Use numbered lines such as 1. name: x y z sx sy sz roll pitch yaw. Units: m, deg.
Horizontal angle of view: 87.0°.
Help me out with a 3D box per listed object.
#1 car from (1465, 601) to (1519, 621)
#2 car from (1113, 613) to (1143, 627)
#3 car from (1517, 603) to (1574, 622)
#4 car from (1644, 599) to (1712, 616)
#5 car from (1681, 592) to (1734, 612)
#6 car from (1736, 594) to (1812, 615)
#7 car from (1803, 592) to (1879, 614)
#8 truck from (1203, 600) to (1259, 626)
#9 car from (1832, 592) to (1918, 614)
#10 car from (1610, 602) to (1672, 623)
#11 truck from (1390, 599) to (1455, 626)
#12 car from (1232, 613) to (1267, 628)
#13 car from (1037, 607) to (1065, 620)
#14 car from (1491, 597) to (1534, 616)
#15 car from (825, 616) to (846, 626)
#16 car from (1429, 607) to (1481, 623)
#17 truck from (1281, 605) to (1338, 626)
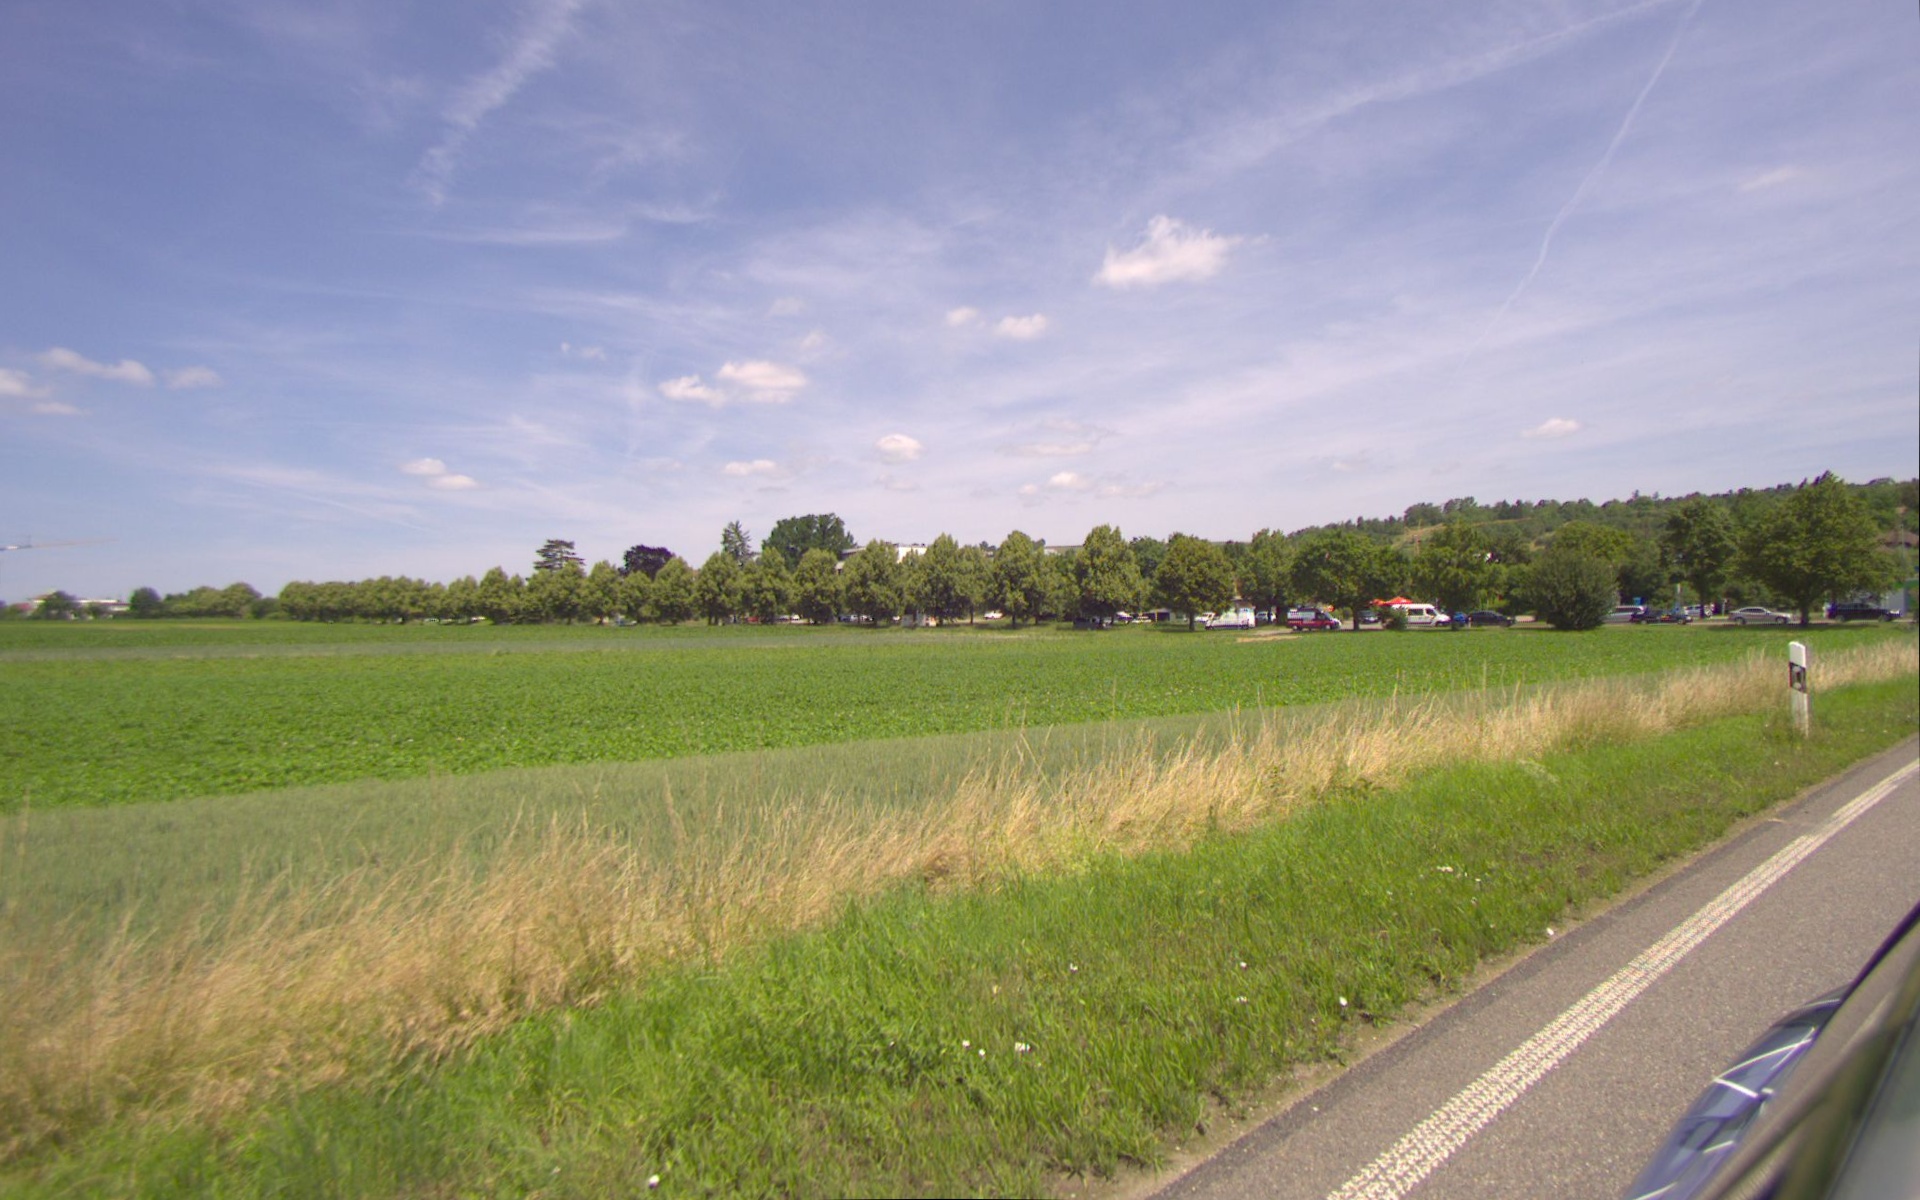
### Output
1. car: 51.111 1.079 97.242 4.273 1.719 1.970 -3 0 42
2. car: 24.219 2.878 145.822 3.985 1.847 1.795 -3 0 44
3. car: 57.425 1.252 99.319 4.508 1.713 1.839 -2 0 43
4. car: 61.773 0.647 87.093 4.542 1.289 1.774 -3 0 42
5. car: 73.403 0.195 99.453 3.984 1.847 1.795 -3 0 42
6. car: 66.078 0.370 82.196 1.771 1.529 4.550 -2 0 -43
7. car: 72.780 0.253 83.645 1.834 1.713 4.520 -2 0 -40
8. truck: 31.714 1.523 118.351 5.909 2.770 2.046 -2 2 38
9. car: 70.422 0.210 77.945 1.767 1.528 4.562 -4 2 -34
10. car: 61.813 1.134 91.916 4.503 1.713 1.841 -2 0 39
11. truck: 46.002 1.246 100.718 5.601 2.396 2.028 -3 0 36
12. car: 37.848 2.661 132.405 3.985 1.847 1.795 -3 0 44
13. car: 14.213 2.142 158.291 3.985 1.847 1.707 -3 0 44
14. car: 59.645 0.695 109.260 3.962 1.847 1.805 -3 0 29
15. car: -23.421 3.999 190.835 3.985 1.650 1.717 -3 0 44
16. car: 49.720 1.515 101.680 1.755 1.578 4.375 1 -2 -44
17. truck: 37.017 1.637 107.212 5.441 2.000 1.778 -3 -1 36
